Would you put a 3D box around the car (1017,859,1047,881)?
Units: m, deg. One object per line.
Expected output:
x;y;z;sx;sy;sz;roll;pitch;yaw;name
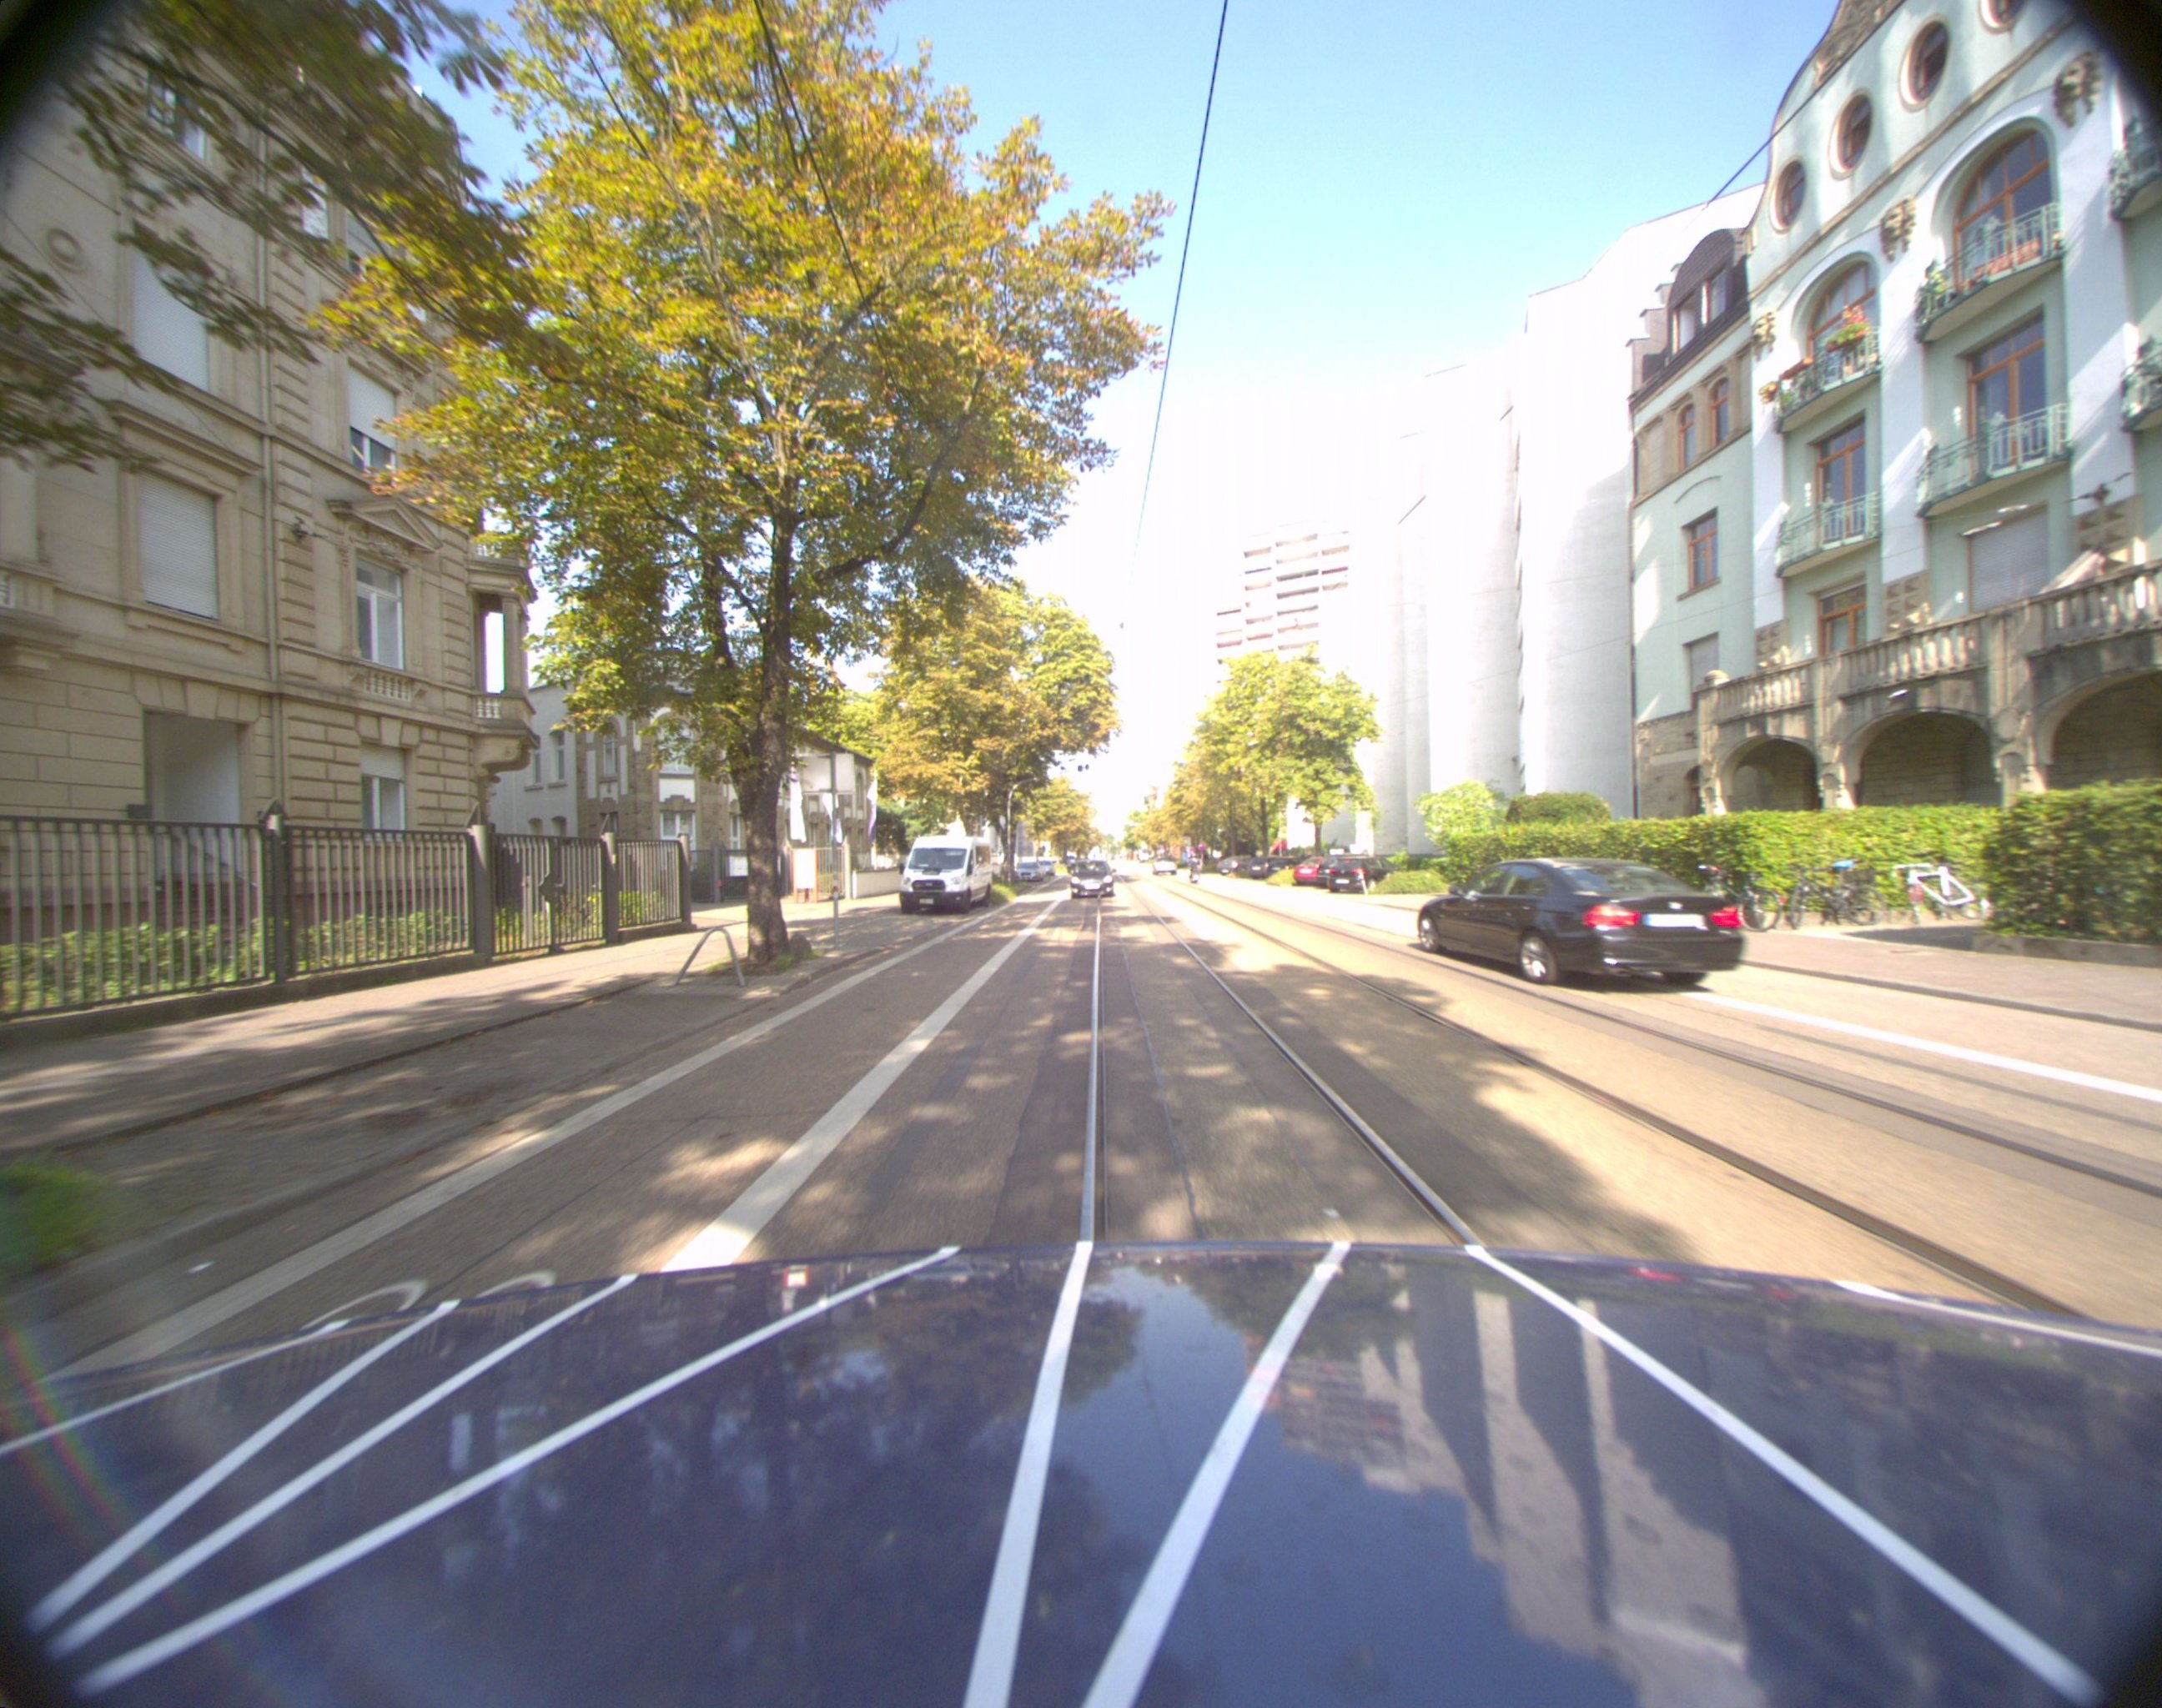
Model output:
-3.370;1.087;52.998;1.757;1.349;3.788;-1;0;1;car

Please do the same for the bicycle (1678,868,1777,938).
11.100;0.811;13.116;0.425;1.081;1.677;-1;0;6;bicycle

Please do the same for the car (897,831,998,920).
-4.154;0.604;24.648;1.998;2.526;5.868;1;0;2;car

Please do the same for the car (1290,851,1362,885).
11.905;0.643;36.762;1.767;1.518;4.008;-1;0;43;car

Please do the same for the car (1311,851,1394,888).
12.162;0.644;33.909;4.008;1.518;1.767;-1;0;-42;car

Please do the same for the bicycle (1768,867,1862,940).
11.687;0.771;12.091;1.397;1.081;0.425;-1;1;-16;bicycle

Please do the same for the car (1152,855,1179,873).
6.683;0.746;60.275;1.757;1.349;3.788;-1;0;1;car

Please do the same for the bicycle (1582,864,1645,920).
11.190;0.773;16.021;0.425;1.081;1.678;-1;0;11;bicycle

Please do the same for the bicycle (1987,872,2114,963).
12.310;0.784;9.650;1.355;1.081;0.425;-1;1;-11;bicycle

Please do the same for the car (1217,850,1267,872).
11.888;0.520;55.943;1.767;1.518;4.008;-1;0;43;car

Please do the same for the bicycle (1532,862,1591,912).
11.375;0.758;18.027;0.425;1.081;1.677;-1;0;4;bicycle

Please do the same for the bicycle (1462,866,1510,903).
11.363;0.840;21.364;0.425;0.972;1.770;-1;0;1;bicycle

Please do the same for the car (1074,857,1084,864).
-0.396;1.241;149.881;1.757;1.349;3.788;-1;0;1;car

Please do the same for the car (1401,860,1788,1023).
5.814;0.845;9.483;1.701;1.395;4.646;-2;0;1;car

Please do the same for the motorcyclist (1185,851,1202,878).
6.148;0.572;41.613;0.816;1.445;0.888;-1;1;4;motorcyclist

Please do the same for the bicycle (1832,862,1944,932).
13.064;0.684;12.319;1.354;1.081;0.426;-1;1;0;bicycle

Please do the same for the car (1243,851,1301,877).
11.852;0.587;47.089;1.767;1.518;4.008;-1;0;43;car

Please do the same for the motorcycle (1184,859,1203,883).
6.163;0.934;41.643;0.816;1.235;2.202;-1;0;4;motorcycle

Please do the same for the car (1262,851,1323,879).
12.332;0.613;44.218;1.767;1.518;4.008;-1;0;43;car

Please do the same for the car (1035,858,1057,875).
-3.034;1.049;66.592;1.757;1.349;3.788;-1;0;1;car

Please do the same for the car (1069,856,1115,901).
0.461;0.909;29.641;1.610;1.515;4.357;-3;0;2;car

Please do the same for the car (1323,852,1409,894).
11.348;0.715;30.145;1.767;1.518;4.008;-1;0;43;car

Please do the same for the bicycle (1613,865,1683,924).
11.316;0.784;15.207;0.425;1.081;1.678;-1;0;11;bicycle
